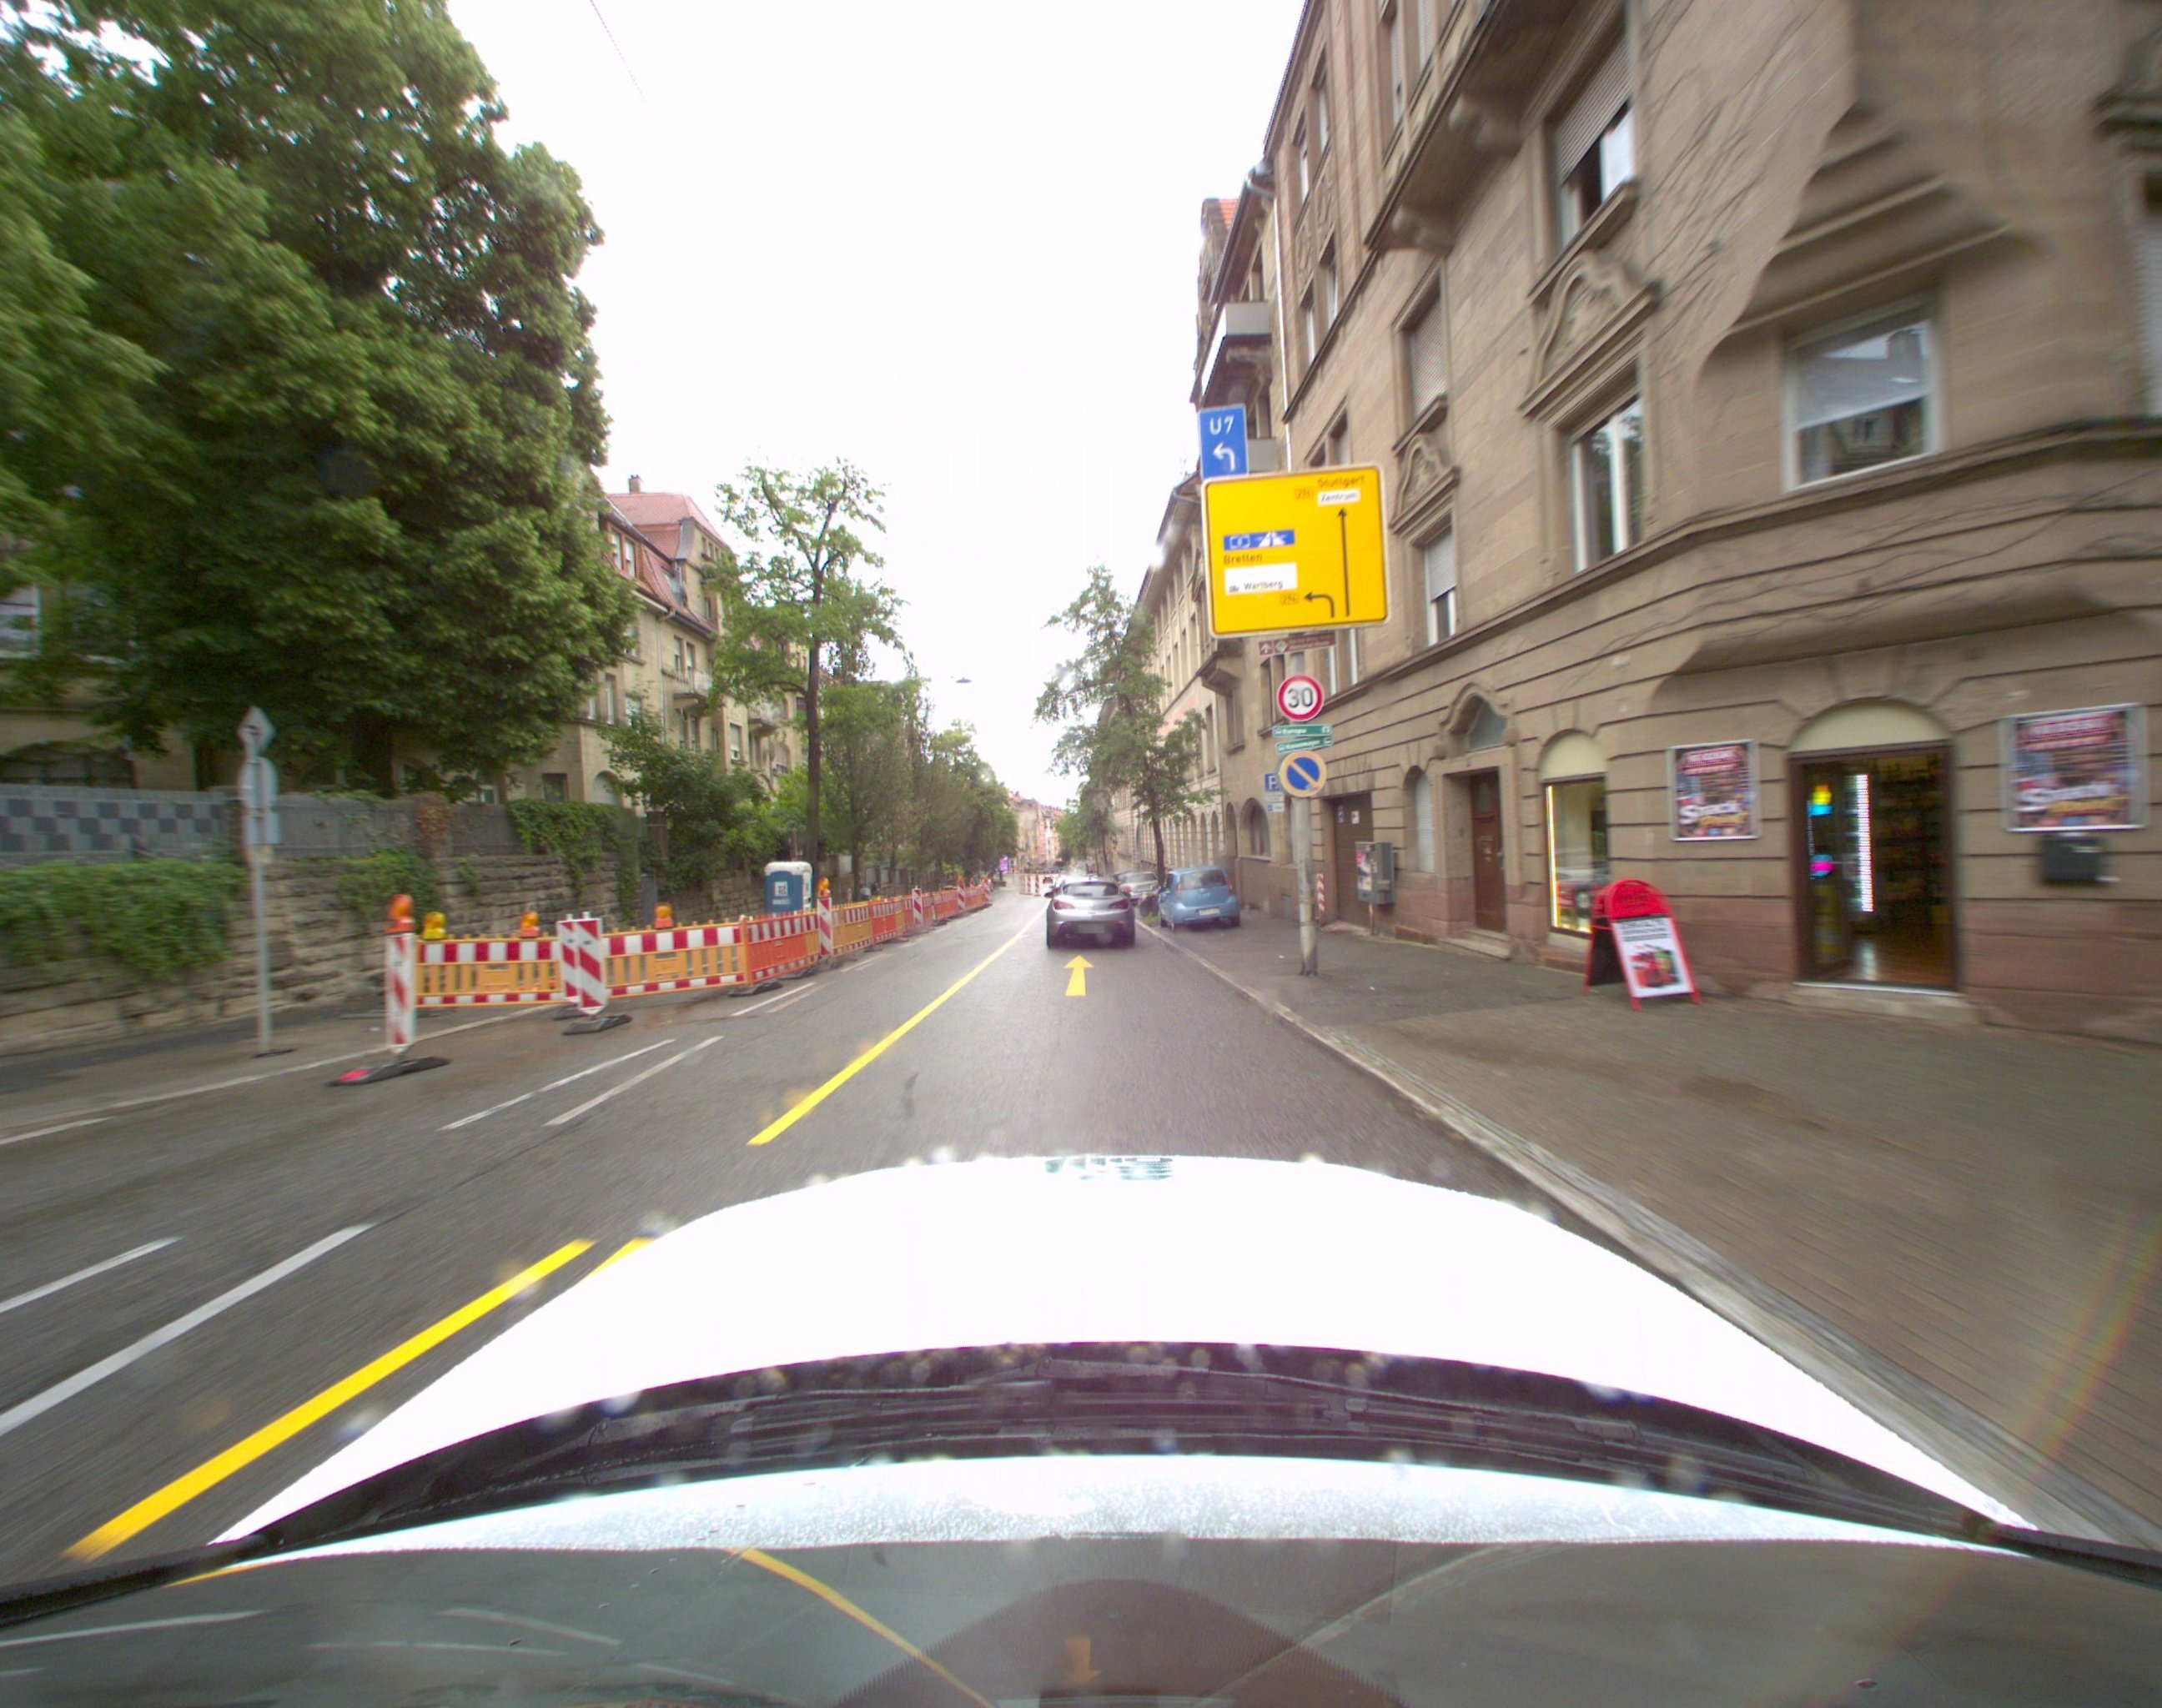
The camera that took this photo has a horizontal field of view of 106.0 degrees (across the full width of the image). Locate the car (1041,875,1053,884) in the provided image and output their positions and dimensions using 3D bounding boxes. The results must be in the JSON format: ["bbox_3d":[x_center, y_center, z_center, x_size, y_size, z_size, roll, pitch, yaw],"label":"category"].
[{"bbox_3d":[-5.898,4.416,141.846,1.990,1.501,3.994,-3,-2,-4],"label":"car"}]

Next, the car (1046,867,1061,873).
[{"bbox_3d":[-7.490,4.437,223.720,3.976,1.750,1.998,0,-2,-2],"label":"car"}]

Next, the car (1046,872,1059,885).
[{"bbox_3d":[-3.744,3.224,107.243,1.652,1.543,3.662,-5,-2,-2],"label":"car"}]

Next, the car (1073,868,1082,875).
[{"bbox_3d":[-0.905,4.646,214.267,1.982,1.684,4.009,0,-2,9],"label":"car"}]

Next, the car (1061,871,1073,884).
[{"bbox_3d":[-2.170,3.684,126.292,1.711,1.782,3.662,-6,-2,-2],"label":"car"}]

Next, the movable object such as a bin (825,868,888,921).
[{"bbox_3d":[-10.561,1.885,38.528,1.986,2.299,2.816,-3,-1,2],"label":"movable object such as a bin"}]

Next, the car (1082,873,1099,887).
[{"bbox_3d":[1.053,3.023,95.317,1.634,1.603,3.852,-3,-1,-4],"label":"car"}]

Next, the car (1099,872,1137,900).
[{"bbox_3d":[2.139,1.882,48.792,1.753,1.461,4.718,-5,-1,-3],"label":"car"}]

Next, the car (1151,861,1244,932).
[{"bbox_3d":[2.904,1.047,21.062,1.652,1.543,3.662,-5,-2,-2],"label":"car"}]

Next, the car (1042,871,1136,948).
[{"bbox_3d":[0.193,1.131,18.004,1.805,1.449,3.869,-1,-1,1],"label":"car"}]

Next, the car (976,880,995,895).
[{"bbox_3d":[-10.440,3.616,89.073,1.632,1.439,4.077,-3,-1,-1],"label":"car"}]

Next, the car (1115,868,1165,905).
[{"bbox_3d":[2.639,1.457,37.375,1.691,1.431,4.417,-5,-1,-3],"label":"car"}]

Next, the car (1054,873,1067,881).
[{"bbox_3d":[-4.322,4.929,173.480,1.982,1.684,4.009,0,-2,9],"label":"car"}]

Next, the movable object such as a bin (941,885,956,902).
[{"bbox_3d":[-9.840,2.938,60.445,0.942,1.214,0.856,-1,-1,-1],"label":"movable object such as a bin"}]

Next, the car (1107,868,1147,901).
[{"bbox_3d":[2.378,1.598,42.770,1.635,1.520,3.180,-5,-1,-3],"label":"car"}]

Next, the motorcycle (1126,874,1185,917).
[{"bbox_3d":[2.477,1.349,26.942,1.948,1.235,0.650,-5,0,-38],"label":"motorcycle"}]

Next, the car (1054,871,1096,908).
[{"bbox_3d":[-0.287,1.566,36.558,1.767,1.504,3.867,-1,-1,-1],"label":"car"}]

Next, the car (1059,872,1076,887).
[{"bbox_3d":[-1.479,2.799,89.026,1.652,1.543,3.662,-5,-2,-2],"label":"car"}]

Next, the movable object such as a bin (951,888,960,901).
[{"bbox_3d":[-9.655,3.119,62.823,0.602,0.908,0.623,-1,-1,-1],"label":"movable object such as a bin"}]

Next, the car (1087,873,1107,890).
[{"bbox_3d":[1.457,2.529,75.392,1.633,1.429,3.373,-3,-1,-2],"label":"car"}]

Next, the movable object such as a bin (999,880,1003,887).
[{"bbox_3d":[-12.978,4.768,131.658,0.624,1.059,0.718,0,-2,-8],"label":"movable object such as a bin"}]

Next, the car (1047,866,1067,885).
[{"bbox_3d":[-2.226,1.937,73.929,1.653,1.543,3.661,-5,-2,-3],"label":"car"}]
